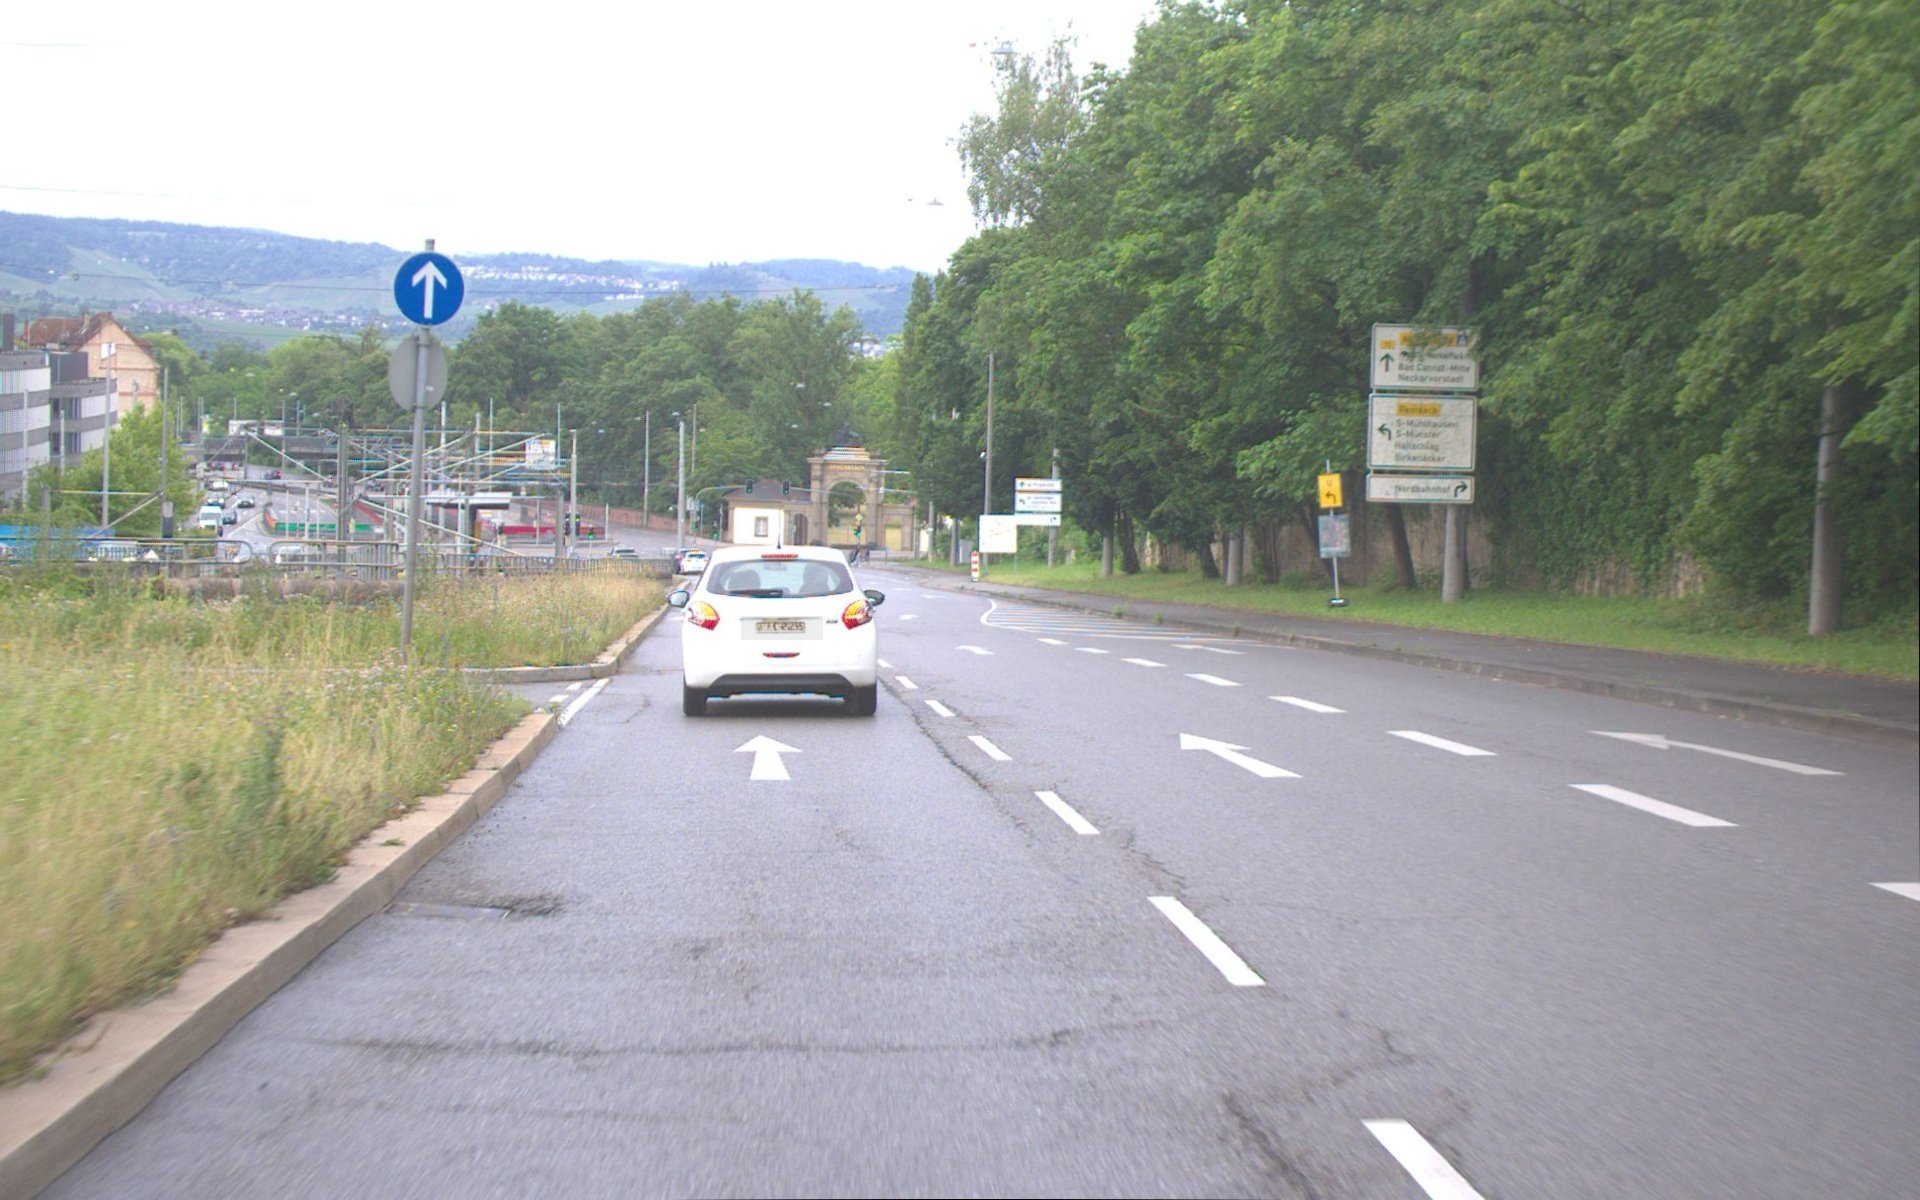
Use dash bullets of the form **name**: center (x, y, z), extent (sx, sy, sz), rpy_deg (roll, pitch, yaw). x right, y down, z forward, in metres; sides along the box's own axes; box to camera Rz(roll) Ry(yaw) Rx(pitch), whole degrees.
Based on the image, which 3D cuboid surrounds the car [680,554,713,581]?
- **car**: center (-16.103, -1.983, 210.389), extent (1.822, 1.600, 4.000), rpy_deg (-1, 1, -2)

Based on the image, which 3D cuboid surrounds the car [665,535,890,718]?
- **car**: center (-1.636, 0.183, 30.827), extent (1.868, 1.505, 3.900), rpy_deg (-1, 1, -3)
